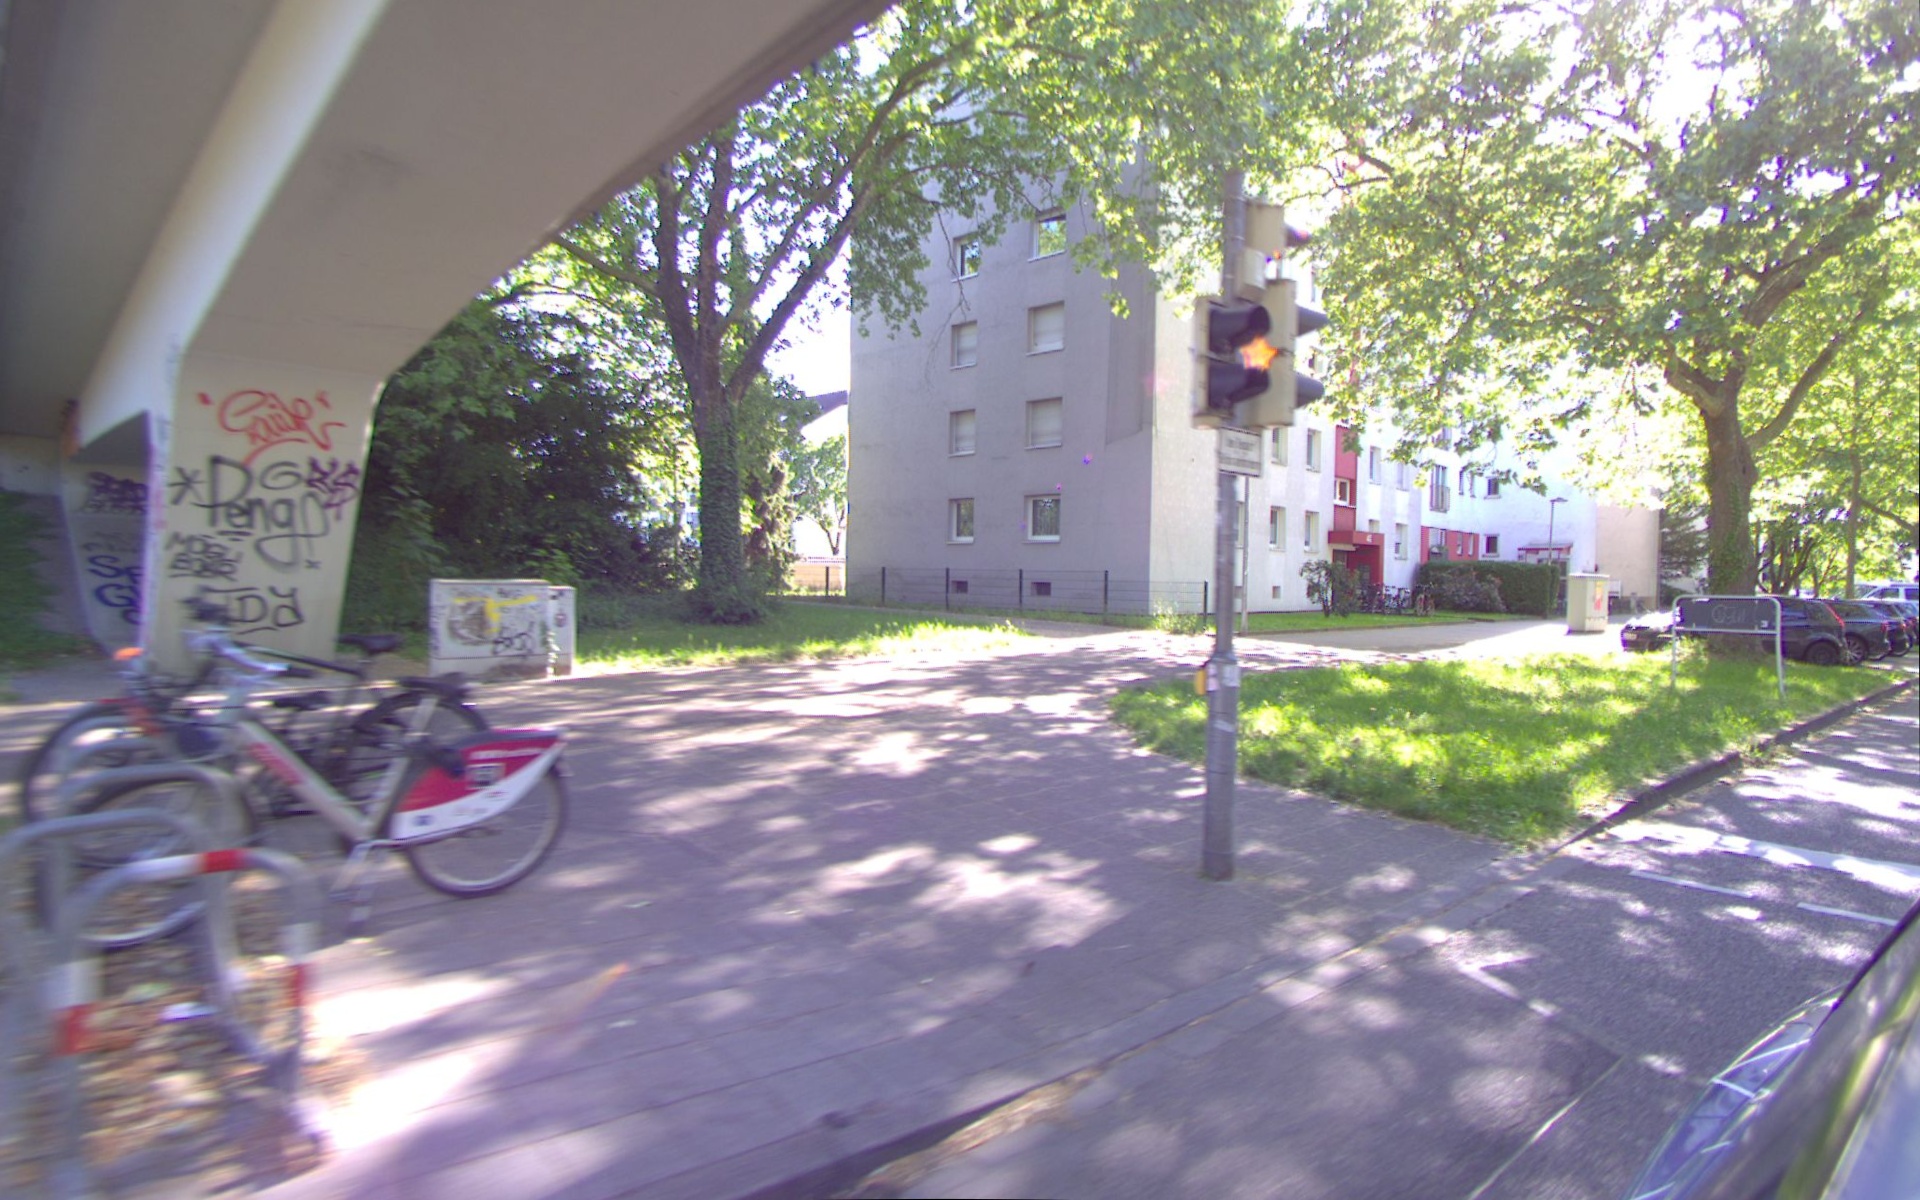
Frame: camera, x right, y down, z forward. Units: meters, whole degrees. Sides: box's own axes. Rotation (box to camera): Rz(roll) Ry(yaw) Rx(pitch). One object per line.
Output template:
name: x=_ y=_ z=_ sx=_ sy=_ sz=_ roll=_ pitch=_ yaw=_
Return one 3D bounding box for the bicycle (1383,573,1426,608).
bicycle: x=14.617 y=-0.308 z=33.263 sx=1.768 sy=1.121 sz=0.591 roll=0 pitch=1 yaw=-41

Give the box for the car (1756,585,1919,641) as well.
car: x=27.298 y=0.378 z=31.182 sx=3.857 sy=1.434 sz=1.797 roll=3 pitch=3 yaw=7

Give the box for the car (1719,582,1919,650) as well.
car: x=22.918 y=0.395 z=26.889 sx=3.932 sy=1.485 sz=1.780 roll=3 pitch=3 yaw=7

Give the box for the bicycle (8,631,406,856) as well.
bicycle: x=-3.527 y=0.612 z=4.833 sx=1.448 sy=0.862 sz=0.506 roll=1 pitch=4 yaw=-42

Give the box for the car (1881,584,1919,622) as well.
car: x=44.297 y=0.228 z=45.438 sx=3.932 sy=1.609 sz=1.797 roll=3 pitch=3 yaw=8

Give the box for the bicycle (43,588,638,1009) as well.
bicycle: x=-2.191 y=0.590 z=3.761 sx=1.769 sy=1.197 sz=0.591 roll=1 pitch=4 yaw=-42

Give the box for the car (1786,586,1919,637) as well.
car: x=30.147 y=0.392 z=33.041 sx=4.514 sy=1.441 sz=1.796 roll=3 pitch=3 yaw=9

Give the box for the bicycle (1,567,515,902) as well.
bicycle: x=-3.017 y=0.496 z=4.501 sx=1.769 sy=1.197 sz=0.591 roll=1 pitch=4 yaw=-42

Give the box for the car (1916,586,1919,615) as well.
car: x=54.970 y=0.146 z=54.992 sx=3.935 sy=1.595 sz=1.796 roll=3 pitch=2 yaw=10

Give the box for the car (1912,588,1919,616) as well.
car: x=52.081 y=0.236 z=51.916 sx=4.509 sy=1.440 sz=1.798 roll=2 pitch=2 yaw=5

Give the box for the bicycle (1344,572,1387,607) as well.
bicycle: x=13.721 y=-0.355 z=34.207 sx=1.768 sy=1.121 sz=0.591 roll=0 pitch=1 yaw=-41

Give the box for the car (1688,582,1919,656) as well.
car: x=20.744 y=0.419 z=24.858 sx=4.188 sy=1.479 sz=1.796 roll=3 pitch=3 yaw=10

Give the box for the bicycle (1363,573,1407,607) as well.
bicycle: x=14.184 y=-0.332 z=33.760 sx=1.768 sy=1.121 sz=0.591 roll=0 pitch=1 yaw=-41

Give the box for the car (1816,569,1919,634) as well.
car: x=32.908 y=0.086 z=35.000 sx=4.516 sy=2.077 sz=2.013 roll=3 pitch=3 yaw=10

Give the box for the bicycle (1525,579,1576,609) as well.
bicycle: x=25.840 y=-0.278 z=44.329 sx=0.492 sy=1.143 sz=1.796 roll=0 pitch=4 yaw=-45

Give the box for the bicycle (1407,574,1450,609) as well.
bicycle: x=15.132 y=-0.276 z=32.676 sx=1.768 sy=1.121 sz=0.591 roll=0 pitch=1 yaw=-41

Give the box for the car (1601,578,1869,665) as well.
car: x=15.830 y=0.398 z=20.861 sx=3.930 sy=1.479 sz=1.798 roll=3 pitch=3 yaw=6

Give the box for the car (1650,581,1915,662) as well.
car: x=18.355 y=0.431 z=22.798 sx=4.188 sy=1.479 sz=1.796 roll=3 pitch=3 yaw=10

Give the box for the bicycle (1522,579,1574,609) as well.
bicycle: x=25.477 y=-0.260 z=43.873 sx=0.541 sy=1.143 sz=1.796 roll=0 pitch=4 yaw=-45

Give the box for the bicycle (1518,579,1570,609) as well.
bicycle: x=25.079 y=-0.259 z=43.457 sx=0.492 sy=1.143 sz=1.796 roll=0 pitch=4 yaw=-45
